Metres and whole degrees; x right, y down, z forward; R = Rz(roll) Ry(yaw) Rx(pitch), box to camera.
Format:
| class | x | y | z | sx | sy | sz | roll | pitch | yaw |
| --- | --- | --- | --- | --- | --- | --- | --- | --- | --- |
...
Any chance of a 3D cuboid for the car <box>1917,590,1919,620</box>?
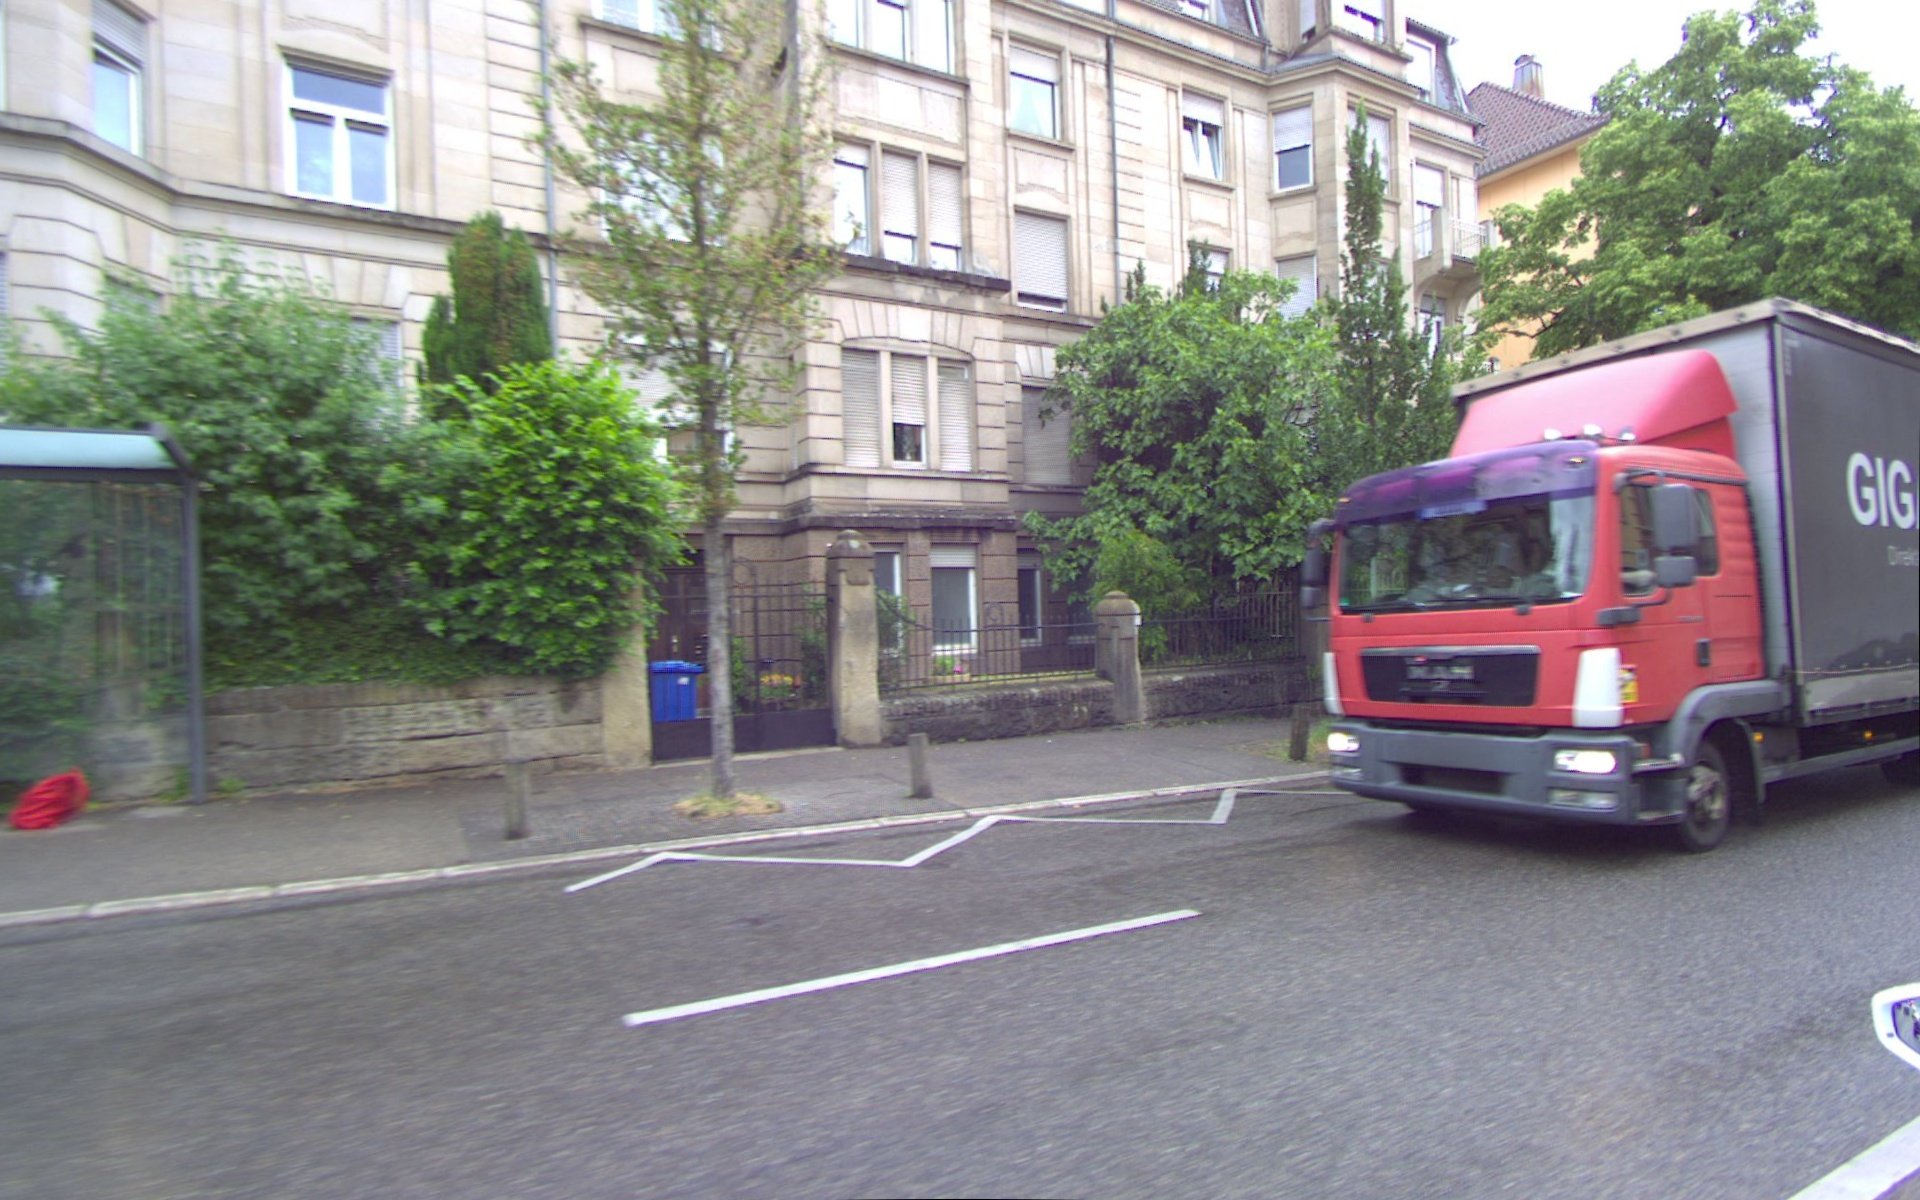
| class | x | y | z | sx | sy | sz | roll | pitch | yaw |
| --- | --- | --- | --- | --- | --- | --- | --- | --- | --- |
| car | 51.658 | 0.188 | 50.500 | 1.992 | 2.077 | 4.662 | -1 | 5 | -15 |

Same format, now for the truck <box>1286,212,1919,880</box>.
| class | x | y | z | sx | sy | sz | roll | pitch | yaw |
| --- | --- | --- | --- | --- | --- | --- | --- | --- | --- |
| truck | 7.326 | -0.224 | 9.303 | 9.195 | 3.905 | 2.636 | 1 | -3 | -30 |

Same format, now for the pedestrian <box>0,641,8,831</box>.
| class | x | y | z | sx | sy | sz | roll | pitch | yaw |
| --- | --- | --- | --- | --- | --- | --- | --- | --- | --- |
| pedestrian | -7.469 | 1.021 | 7.248 | 0.641 | 1.451 | 0.763 | 1 | -2 | -27 |

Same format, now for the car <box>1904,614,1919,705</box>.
| class | x | y | z | sx | sy | sz | roll | pitch | yaw |
| --- | --- | --- | --- | --- | --- | --- | --- | --- | --- |
| car | 17.951 | 0.962 | 16.928 | 4.693 | 1.487 | 1.763 | 1 | -2 | -31 |
